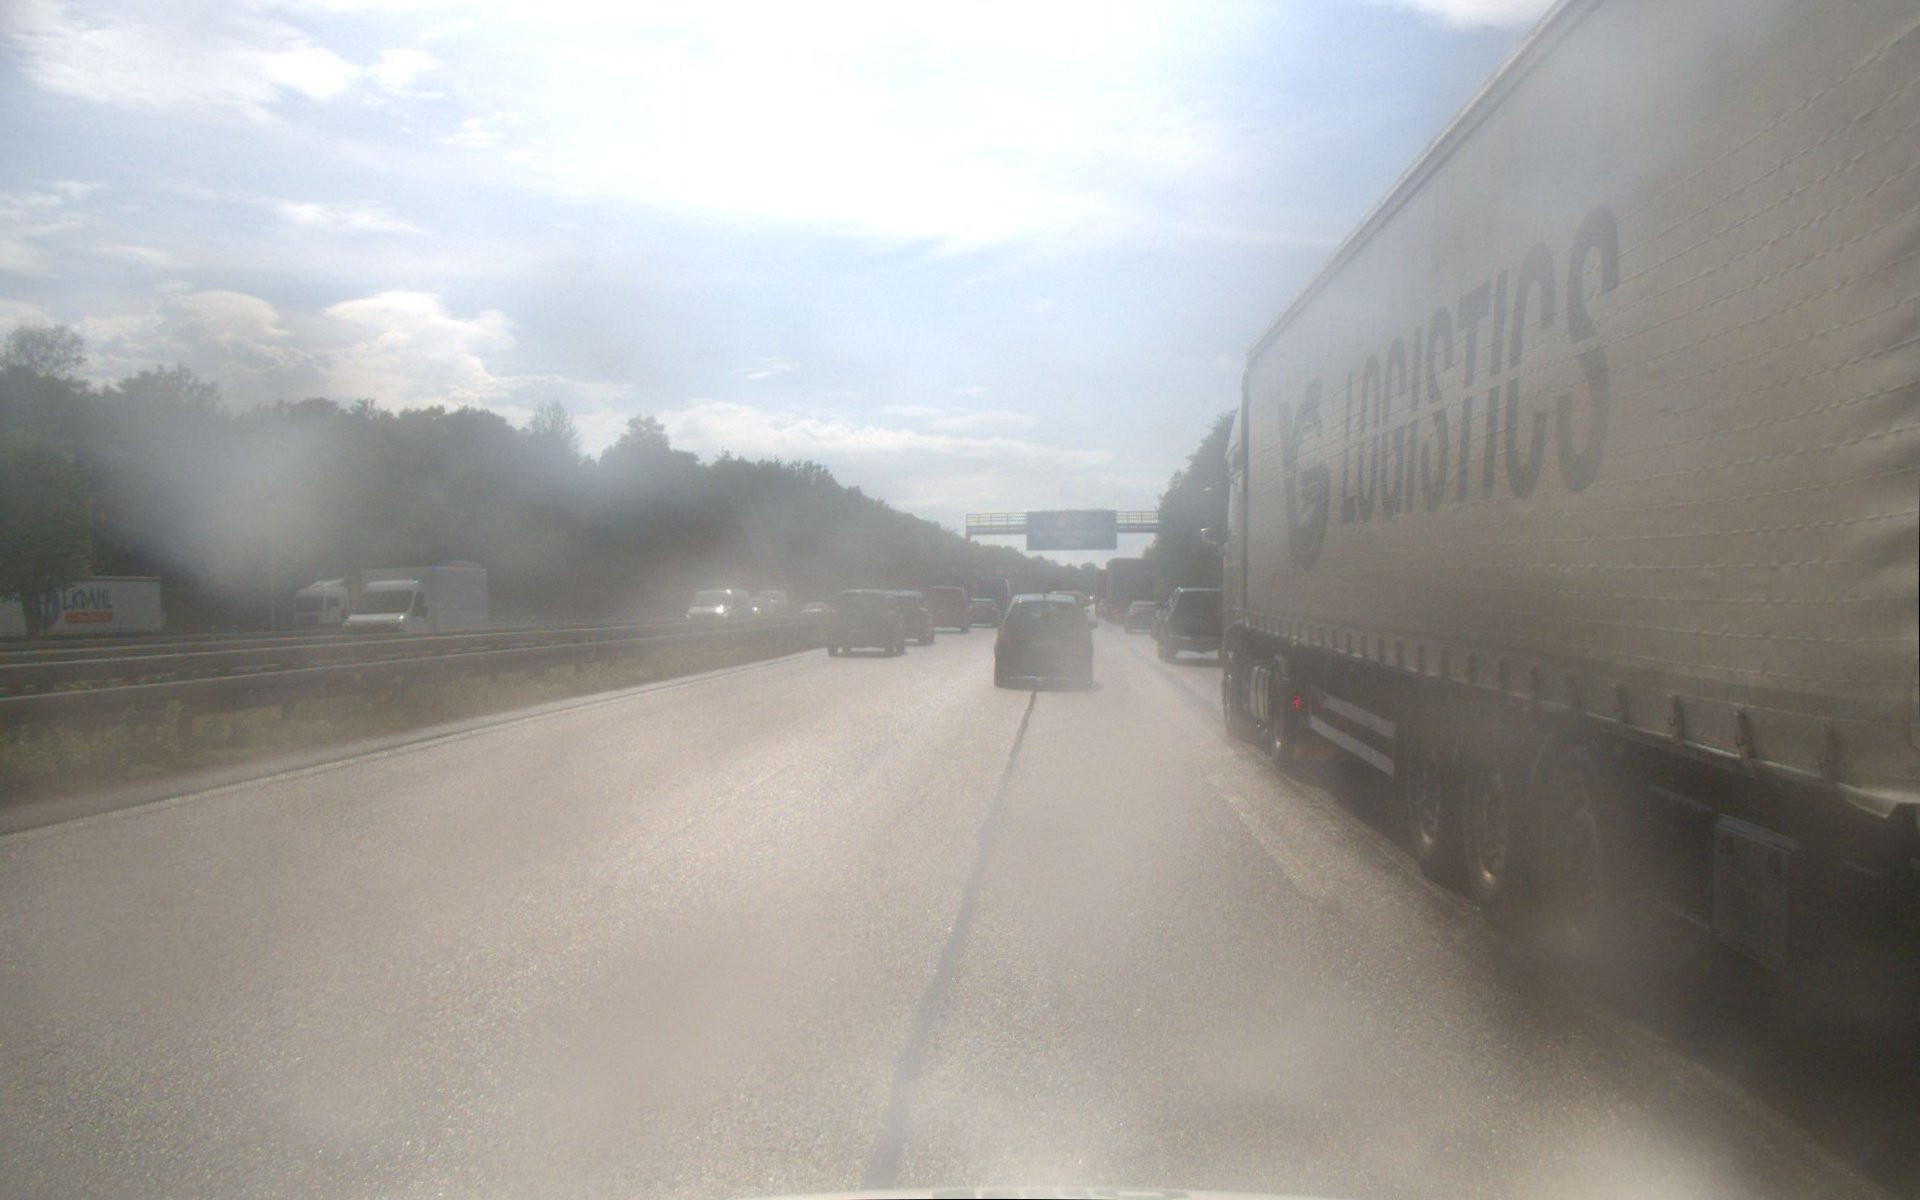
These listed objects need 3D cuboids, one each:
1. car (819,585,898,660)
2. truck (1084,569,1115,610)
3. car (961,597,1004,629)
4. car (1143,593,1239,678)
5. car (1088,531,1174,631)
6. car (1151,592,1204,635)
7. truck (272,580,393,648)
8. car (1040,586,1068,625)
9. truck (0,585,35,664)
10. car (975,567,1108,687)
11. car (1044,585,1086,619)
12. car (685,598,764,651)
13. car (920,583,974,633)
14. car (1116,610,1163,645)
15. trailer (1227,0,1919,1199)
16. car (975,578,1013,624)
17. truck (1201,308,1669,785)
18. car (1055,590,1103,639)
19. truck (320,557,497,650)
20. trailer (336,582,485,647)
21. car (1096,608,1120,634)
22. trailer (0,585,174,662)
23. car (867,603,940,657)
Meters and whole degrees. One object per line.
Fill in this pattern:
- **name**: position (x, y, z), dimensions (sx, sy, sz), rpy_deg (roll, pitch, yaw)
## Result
- **car**: position (-2.630, 0.580, 43.597), dimensions (1.657, 1.836, 3.977), rpy_deg (1, -1, 2)
- **truck**: position (13.022, -0.909, 154.614), dimensions (2.717, 3.695, 5.919), rpy_deg (1, -1, 4)
- **car**: position (1.205, 0.683, 85.881), dimensions (1.951, 1.592, 4.758), rpy_deg (1, -1, 4)
- **car**: position (5.768, 0.868, 41.908), dimensions (1.901, 1.952, 5.654), rpy_deg (1, -1, 3)
- **car**: position (10.955, -1.078, 108.182), dimensions (4.312, 5.932, 16.820), rpy_deg (1, -1, 2)
- **car**: position (8.199, 0.507, 62.563), dimensions (1.558, 1.542, 3.977), rpy_deg (1, -1, 2)
- **truck**: position (-40.454, 0.906, 106.946), dimensions (3.708, 4.189, 7.049), rpy_deg (1, -1, 17)
- **car**: position (6.996, 0.397, 122.736), dimensions (1.951, 2.794, 5.262), rpy_deg (1, -1, 4)
- **truck**: position (-47.221, 1.116, 77.132), dimensions (3.707, 3.724, 6.710), rpy_deg (1, -1, 9)
- **car**: position (1.477, 0.478, 30.510), dimensions (2.227, 1.989, 4.822), rpy_deg (1, -1, 2)
- **car**: position (4.933, 0.117, 78.146), dimensions (1.826, 1.542, 3.976), rpy_deg (1, -1, 2)
- **car**: position (-9.026, 0.944, 63.916), dimensions (2.003, 1.924, 5.261), rpy_deg (1, -1, 3)
- **car**: position (-0.528, 0.348, 72.900), dimensions (1.937, 2.090, 4.758), rpy_deg (1, -1, 4)
- **car**: position (8.252, 1.268, 76.404), dimensions (1.826, 1.542, 3.976), rpy_deg (1, -1, 2)
- **trailer**: position (4.114, -0.441, 10.270), dimensions (3.215, 3.967, 14.133), rpy_deg (1, 0, 3)
- **car**: position (2.093, 0.104, 99.867), dimensions (1.951, 2.661, 5.262), rpy_deg (1, -1, 4)
- **truck**: position (4.469, -0.459, 17.168), dimensions (3.216, 3.959, 6.398), rpy_deg (1, 0, 3)
- **car**: position (4.630, 0.558, 64.752), dimensions (1.657, 1.836, 3.977), rpy_deg (1, -1, 2)
- **truck**: position (-17.559, 0.128, 53.210), dimensions (2.782, 2.729, 7.195), rpy_deg (1, -1, 4)
- **trailer**: position (-37.997, 1.024, 115.017), dimensions (3.708, 4.189, 11.731), rpy_deg (1, -1, 17)
- **car**: position (12.807, 1.831, 143.061), dimensions (1.951, 2.153, 4.891), rpy_deg (1, -1, 4)
- **trailer**: position (-45.761, 1.166, 85.525), dimensions (3.708, 3.713, 10.506), rpy_deg (0, 0, 11)
- **car**: position (-1.785, 0.949, 53.581), dimensions (1.868, 1.665, 4.619), rpy_deg (0, -1, 4)
